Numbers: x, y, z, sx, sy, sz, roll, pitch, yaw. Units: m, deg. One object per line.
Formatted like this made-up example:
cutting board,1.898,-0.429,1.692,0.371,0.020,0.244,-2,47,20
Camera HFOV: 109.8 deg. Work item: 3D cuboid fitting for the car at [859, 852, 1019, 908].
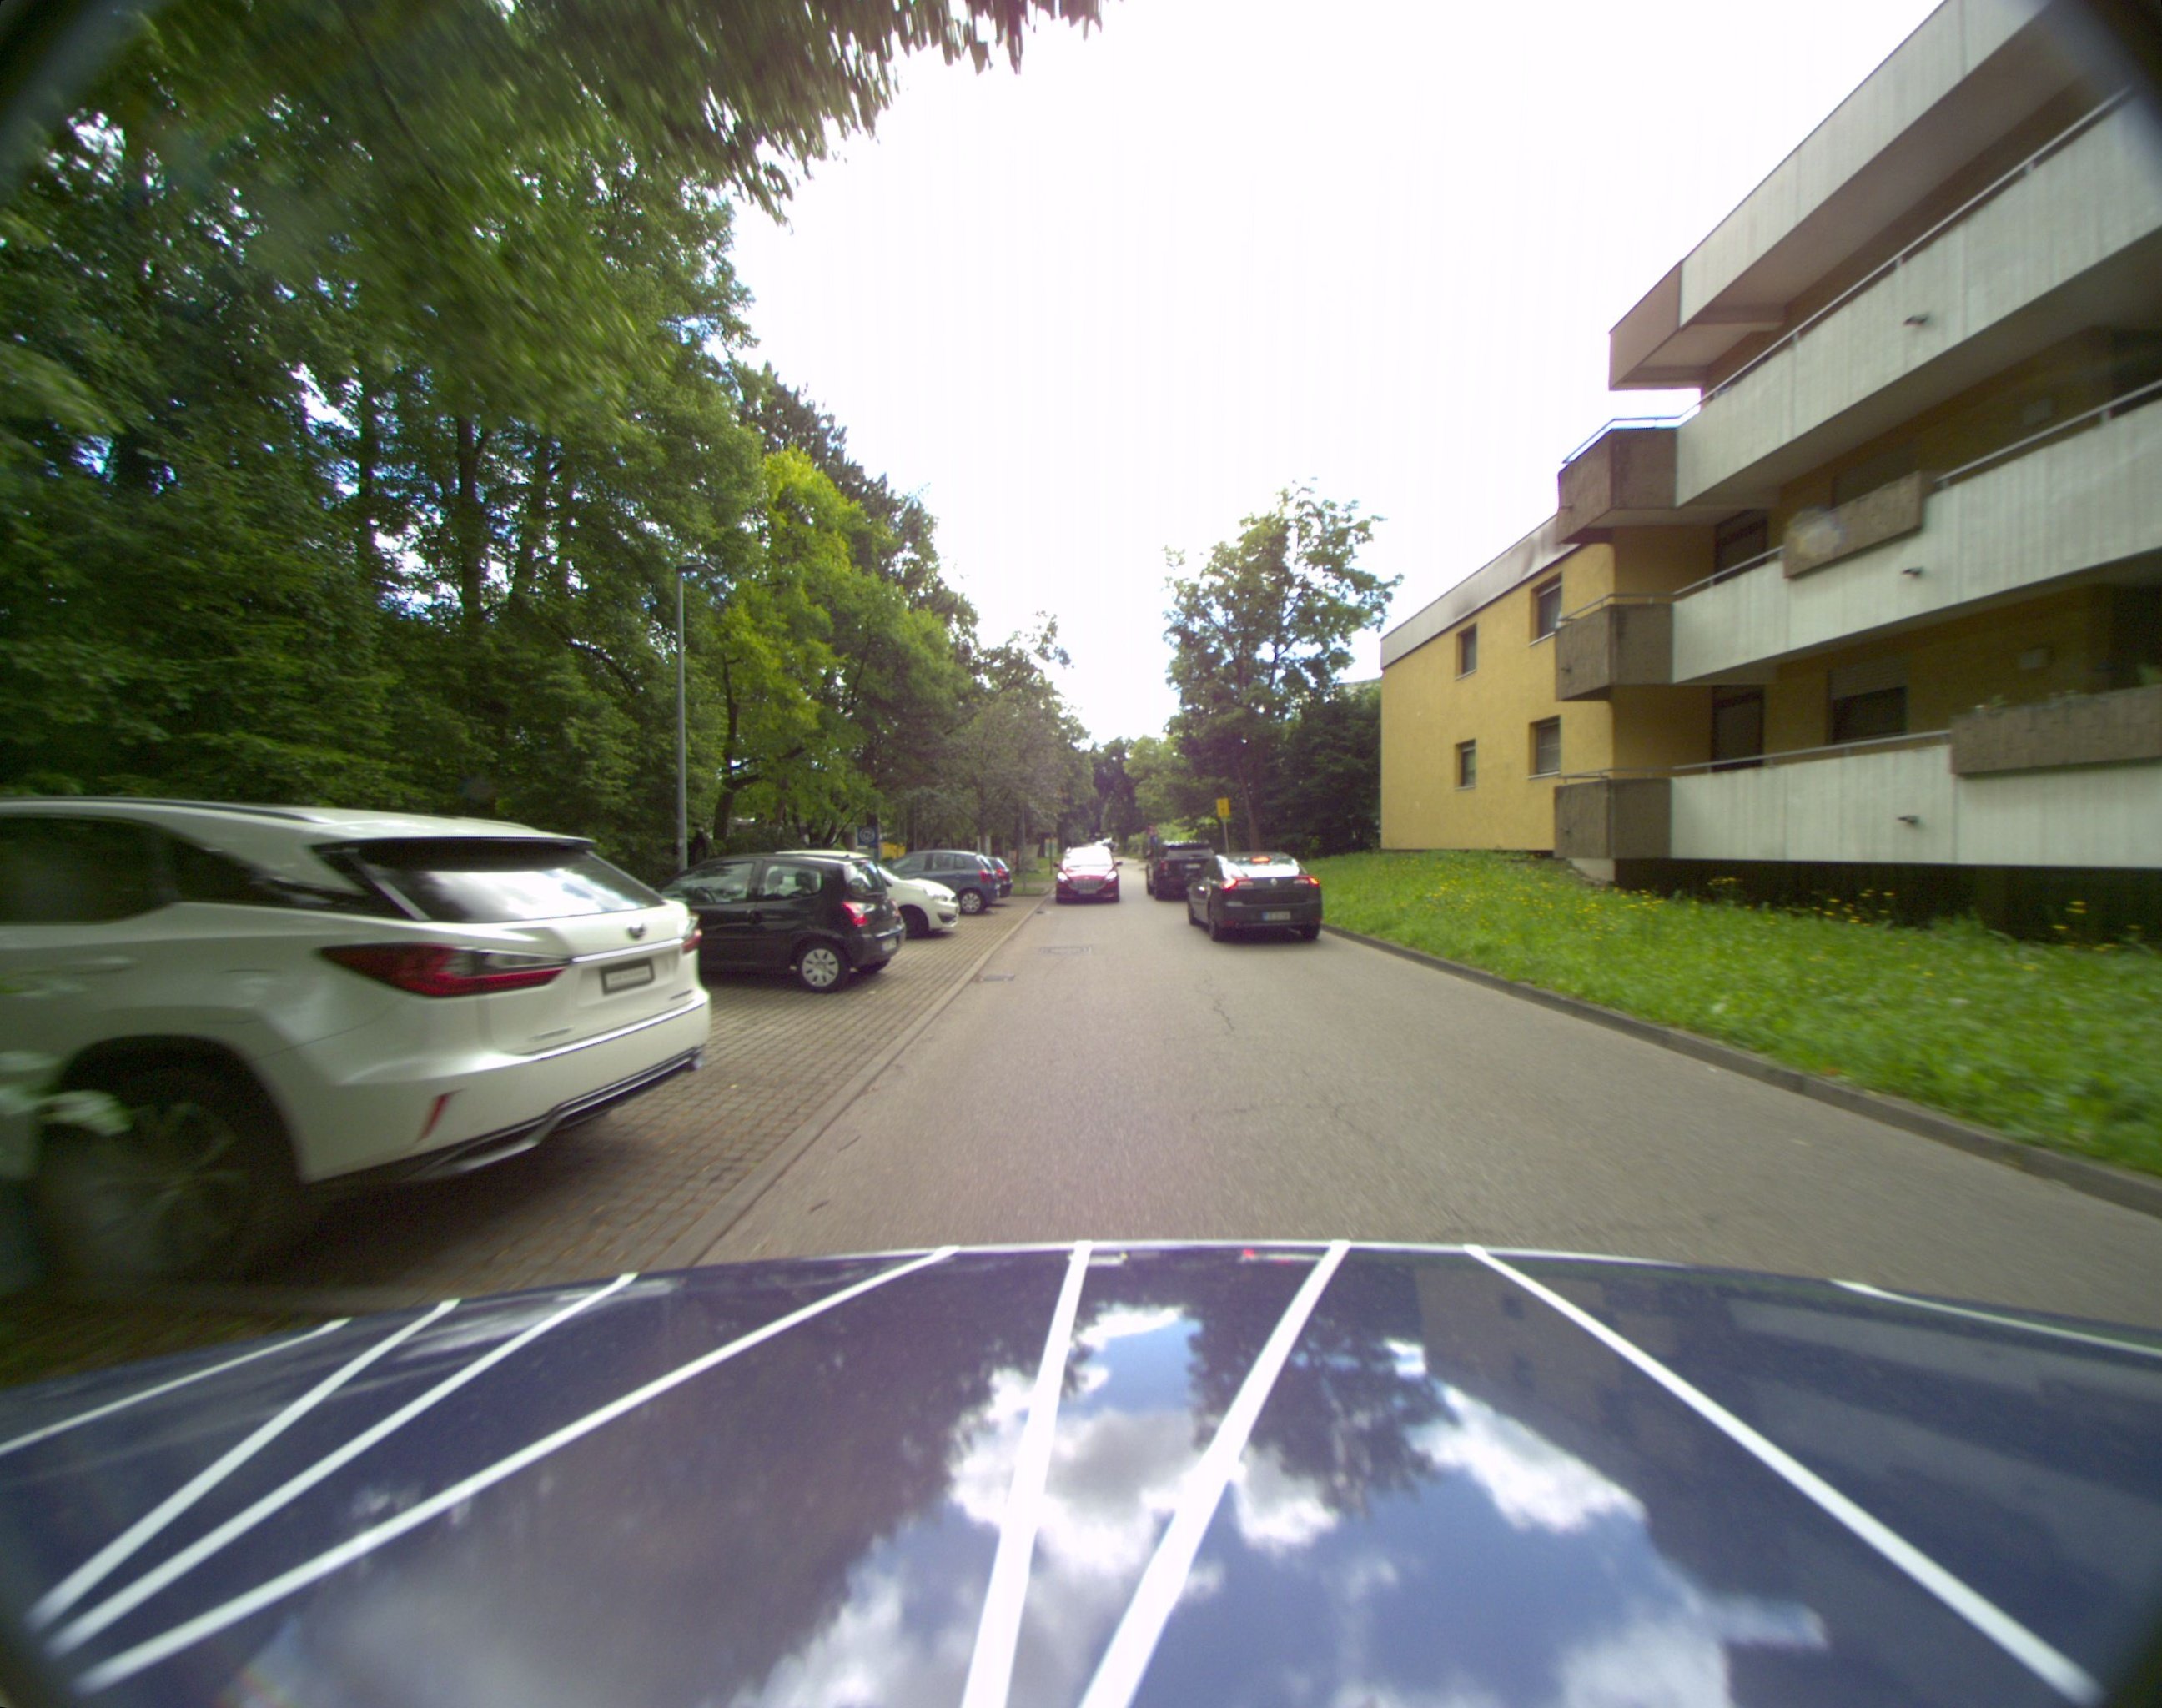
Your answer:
car,-3.833,0.692,21.064,4.096,1.455,1.785,0,1,0

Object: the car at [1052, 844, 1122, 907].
car,0.221,0.575,23.745,1.918,1.707,5.038,-1,1,1

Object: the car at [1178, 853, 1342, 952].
car,2.986,0.732,13.681,1.918,1.403,4.423,-1,1,1

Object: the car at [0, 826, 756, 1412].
car,-4.290,0.736,3.390,4.828,1.683,1.974,1,1,4

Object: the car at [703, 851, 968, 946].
car,-4.214,0.746,13.569,4.170,1.561,1.785,0,1,-3

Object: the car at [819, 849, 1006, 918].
car,-3.987,0.676,18.458,4.145,1.561,1.785,0,1,0

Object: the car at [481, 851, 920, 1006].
car,-4.170,0.764,8.816,4.168,1.561,1.851,0,1,3

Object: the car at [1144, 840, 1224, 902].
car,3.116,0.458,23.964,1.918,1.707,5.058,-1,1,1
